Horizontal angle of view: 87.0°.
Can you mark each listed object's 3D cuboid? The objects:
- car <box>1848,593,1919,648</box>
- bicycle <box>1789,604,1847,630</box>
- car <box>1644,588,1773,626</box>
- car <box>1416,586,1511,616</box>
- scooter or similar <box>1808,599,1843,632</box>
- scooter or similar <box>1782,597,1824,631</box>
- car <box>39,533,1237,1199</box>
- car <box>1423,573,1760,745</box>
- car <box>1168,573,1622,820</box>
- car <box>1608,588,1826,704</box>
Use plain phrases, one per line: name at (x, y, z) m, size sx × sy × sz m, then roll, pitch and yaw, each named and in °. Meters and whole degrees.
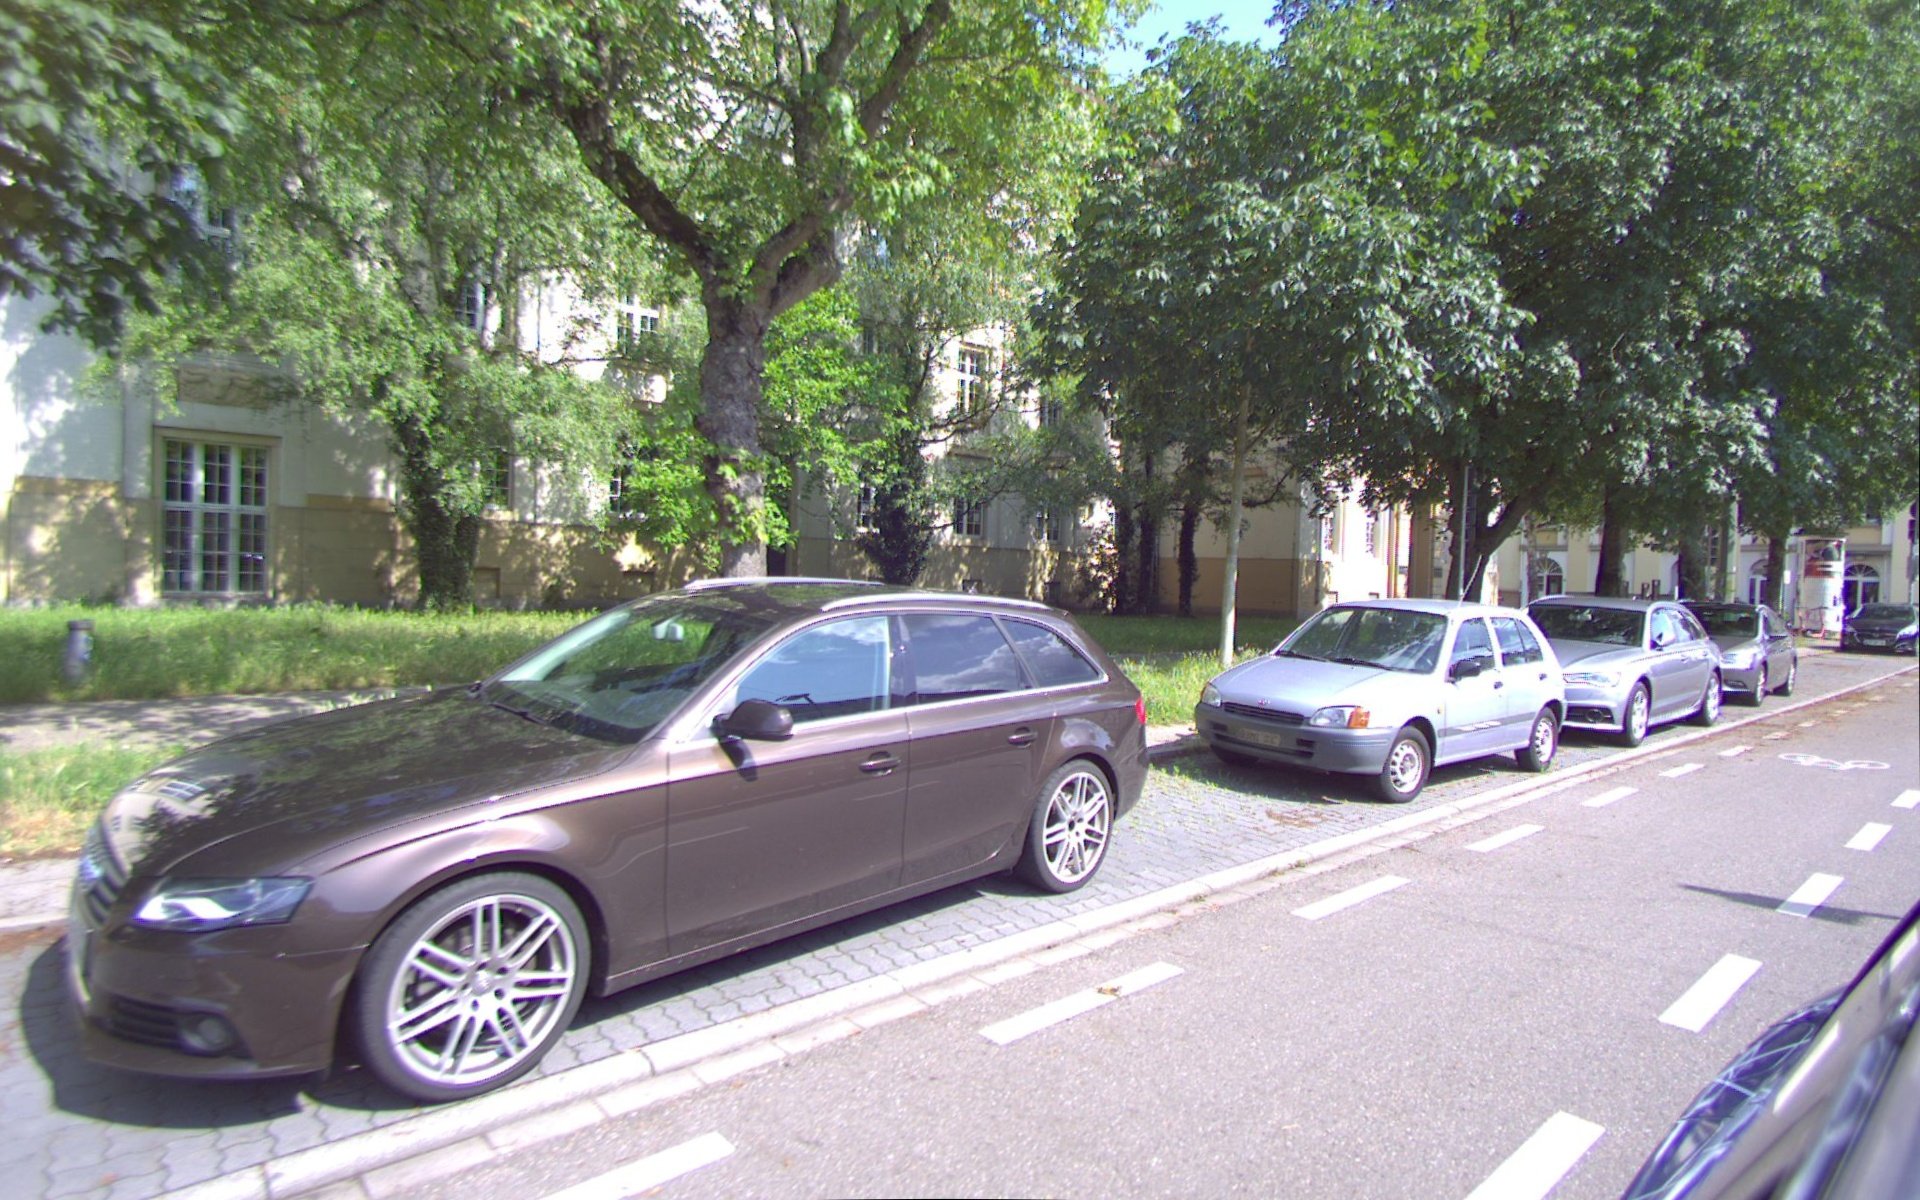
car at (27.407, 0.548, 29.512) m, size 3.855 × 1.404 × 1.689 m, roll -1°, pitch 4°, yaw -41°
bicycle at (39.758, 0.792, 46.920) m, size 0.603 × 1.058 × 1.951 m, roll 0°, pitch 3°, yaw -19°
car at (37.422, 0.286, 50.746) m, size 1.820 × 1.675 × 4.842 m, roll -1°, pitch 2°, yaw -30°
car at (26.645, 0.043, 53.611) m, size 4.096 × 1.369 × 1.860 m, roll 2°, pitch 1°, yaw -5°
scooter or similar at (32.368, 0.578, 37.835) m, size 1.103 × 1.193 × 0.415 m, roll 2°, pitch -1°, yaw -12°
scooter or similar at (32.165, 0.530, 38.629) m, size 0.437 × 1.257 × 1.111 m, roll 1°, pitch 1°, yaw -18°
car at (-0.850, 0.542, 4.505) m, size 4.753 × 1.484 × 1.833 m, roll -1°, pitch 5°, yaw -45°
car at (7.436, 0.551, 11.674) m, size 4.961 × 1.458 × 1.834 m, roll 1°, pitch 5°, yaw -41°
car at (3.653, 0.616, 8.219) m, size 3.941 × 1.448 × 1.641 m, roll 1°, pitch 4°, yaw -39°
car at (12.053, 0.632, 15.997) m, size 4.577 × 1.417 × 1.833 m, roll 0°, pitch 5°, yaw -42°
